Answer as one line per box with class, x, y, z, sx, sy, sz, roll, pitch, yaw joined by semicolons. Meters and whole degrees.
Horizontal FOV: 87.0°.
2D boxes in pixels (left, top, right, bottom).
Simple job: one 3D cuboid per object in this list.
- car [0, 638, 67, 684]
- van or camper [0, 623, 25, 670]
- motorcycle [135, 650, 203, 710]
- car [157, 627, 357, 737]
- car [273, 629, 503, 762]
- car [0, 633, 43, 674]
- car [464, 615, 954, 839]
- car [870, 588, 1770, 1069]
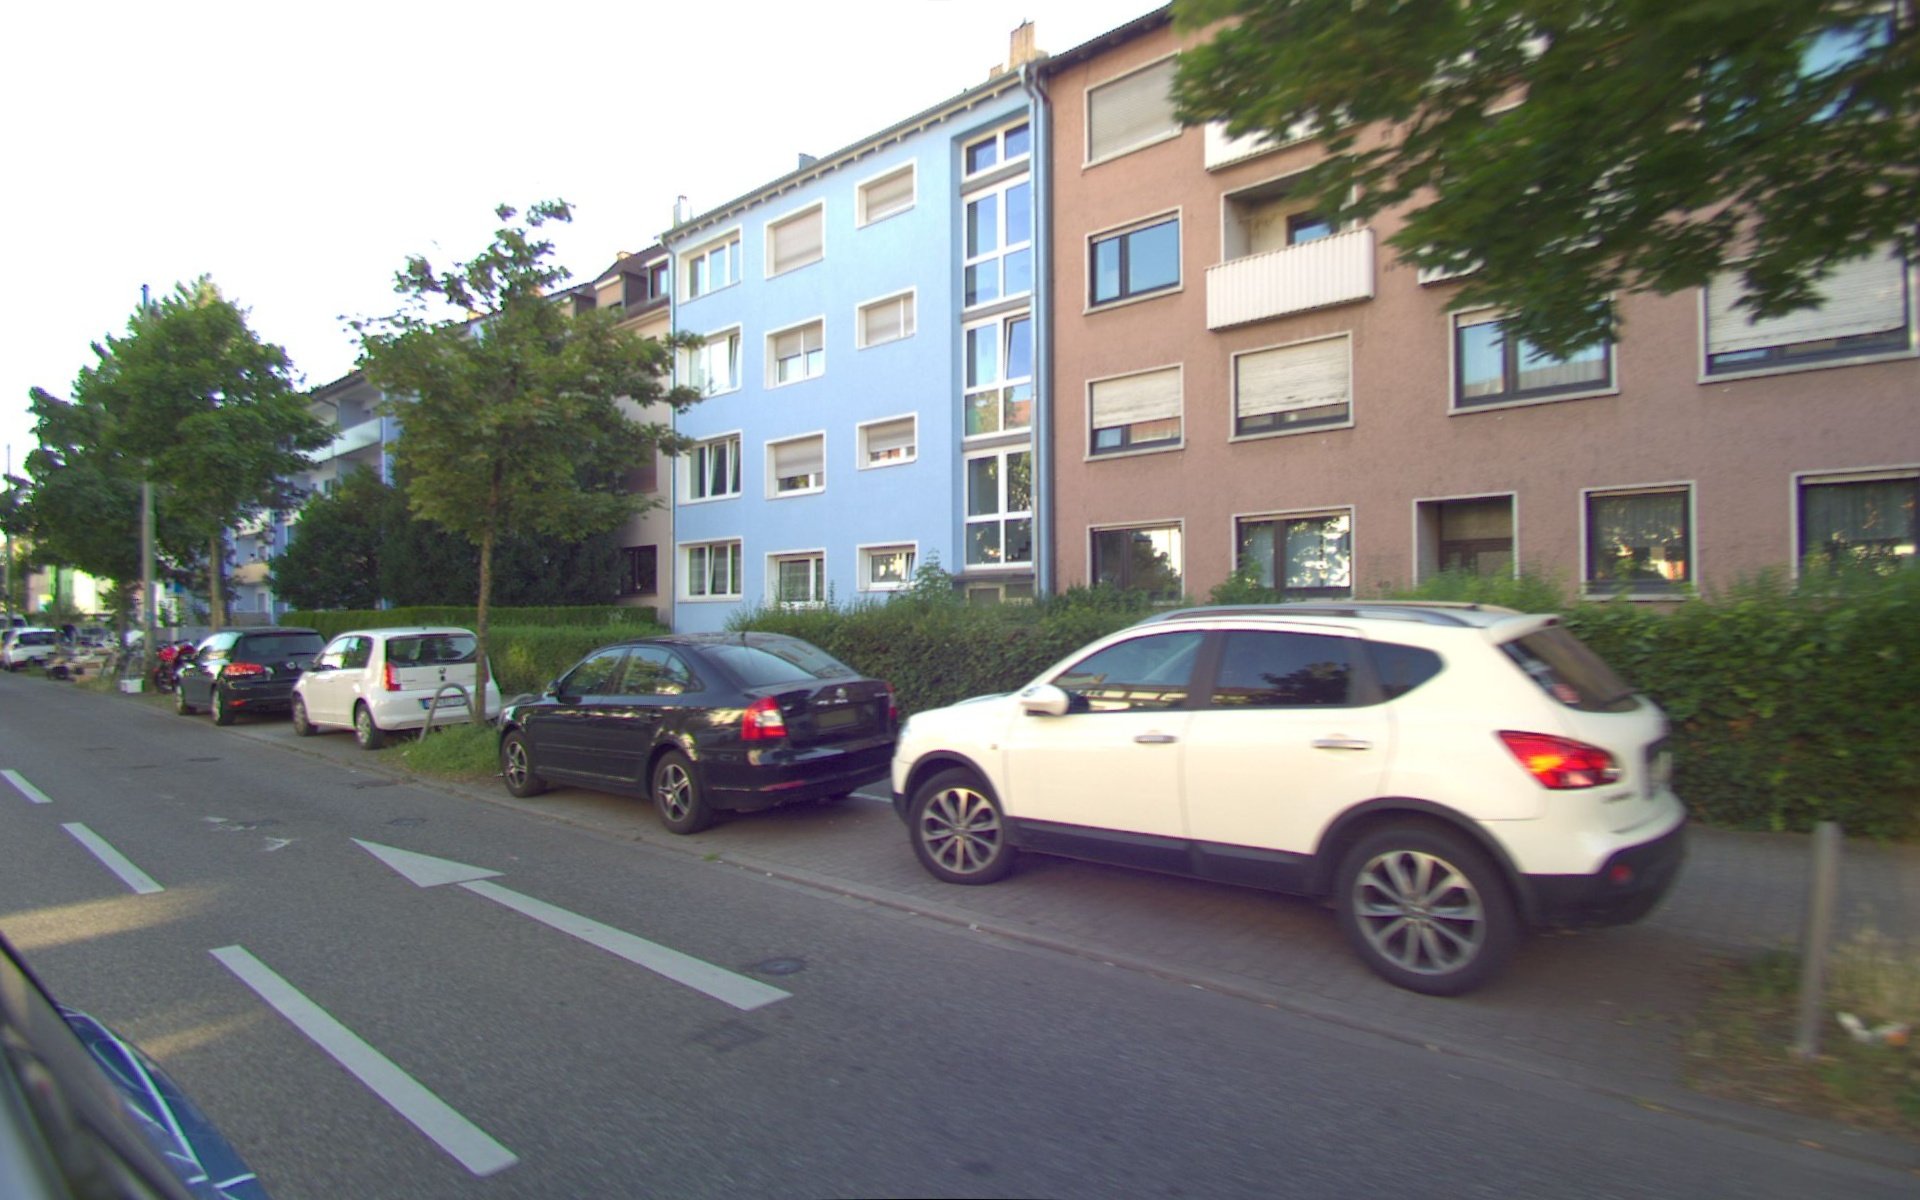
car;-32.921;2.122;35.791;3.881;1.454;1.662;-2;-1;43
van or camper;-44.224;2.120;46.127;4.861;2.029;1.786;-2;-1;40
motorcycle;-16.658;1.656;21.291;2.170;1.145;0.632;-2;0;39
car;-11.806;1.261;16.879;4.315;1.529;1.818;-2;0;42
car;-7.795;1.172;13.673;3.640;1.503;1.574;-1;-1;41
car;-36.716;2.062;39.132;3.490;1.480;1.557;-2;-1;43
car;-2.368;0.889;8.850;4.456;1.459;1.973;-2;-2;41
car;1.599;0.802;5.430;4.184;1.600;1.758;-2;-1;42
